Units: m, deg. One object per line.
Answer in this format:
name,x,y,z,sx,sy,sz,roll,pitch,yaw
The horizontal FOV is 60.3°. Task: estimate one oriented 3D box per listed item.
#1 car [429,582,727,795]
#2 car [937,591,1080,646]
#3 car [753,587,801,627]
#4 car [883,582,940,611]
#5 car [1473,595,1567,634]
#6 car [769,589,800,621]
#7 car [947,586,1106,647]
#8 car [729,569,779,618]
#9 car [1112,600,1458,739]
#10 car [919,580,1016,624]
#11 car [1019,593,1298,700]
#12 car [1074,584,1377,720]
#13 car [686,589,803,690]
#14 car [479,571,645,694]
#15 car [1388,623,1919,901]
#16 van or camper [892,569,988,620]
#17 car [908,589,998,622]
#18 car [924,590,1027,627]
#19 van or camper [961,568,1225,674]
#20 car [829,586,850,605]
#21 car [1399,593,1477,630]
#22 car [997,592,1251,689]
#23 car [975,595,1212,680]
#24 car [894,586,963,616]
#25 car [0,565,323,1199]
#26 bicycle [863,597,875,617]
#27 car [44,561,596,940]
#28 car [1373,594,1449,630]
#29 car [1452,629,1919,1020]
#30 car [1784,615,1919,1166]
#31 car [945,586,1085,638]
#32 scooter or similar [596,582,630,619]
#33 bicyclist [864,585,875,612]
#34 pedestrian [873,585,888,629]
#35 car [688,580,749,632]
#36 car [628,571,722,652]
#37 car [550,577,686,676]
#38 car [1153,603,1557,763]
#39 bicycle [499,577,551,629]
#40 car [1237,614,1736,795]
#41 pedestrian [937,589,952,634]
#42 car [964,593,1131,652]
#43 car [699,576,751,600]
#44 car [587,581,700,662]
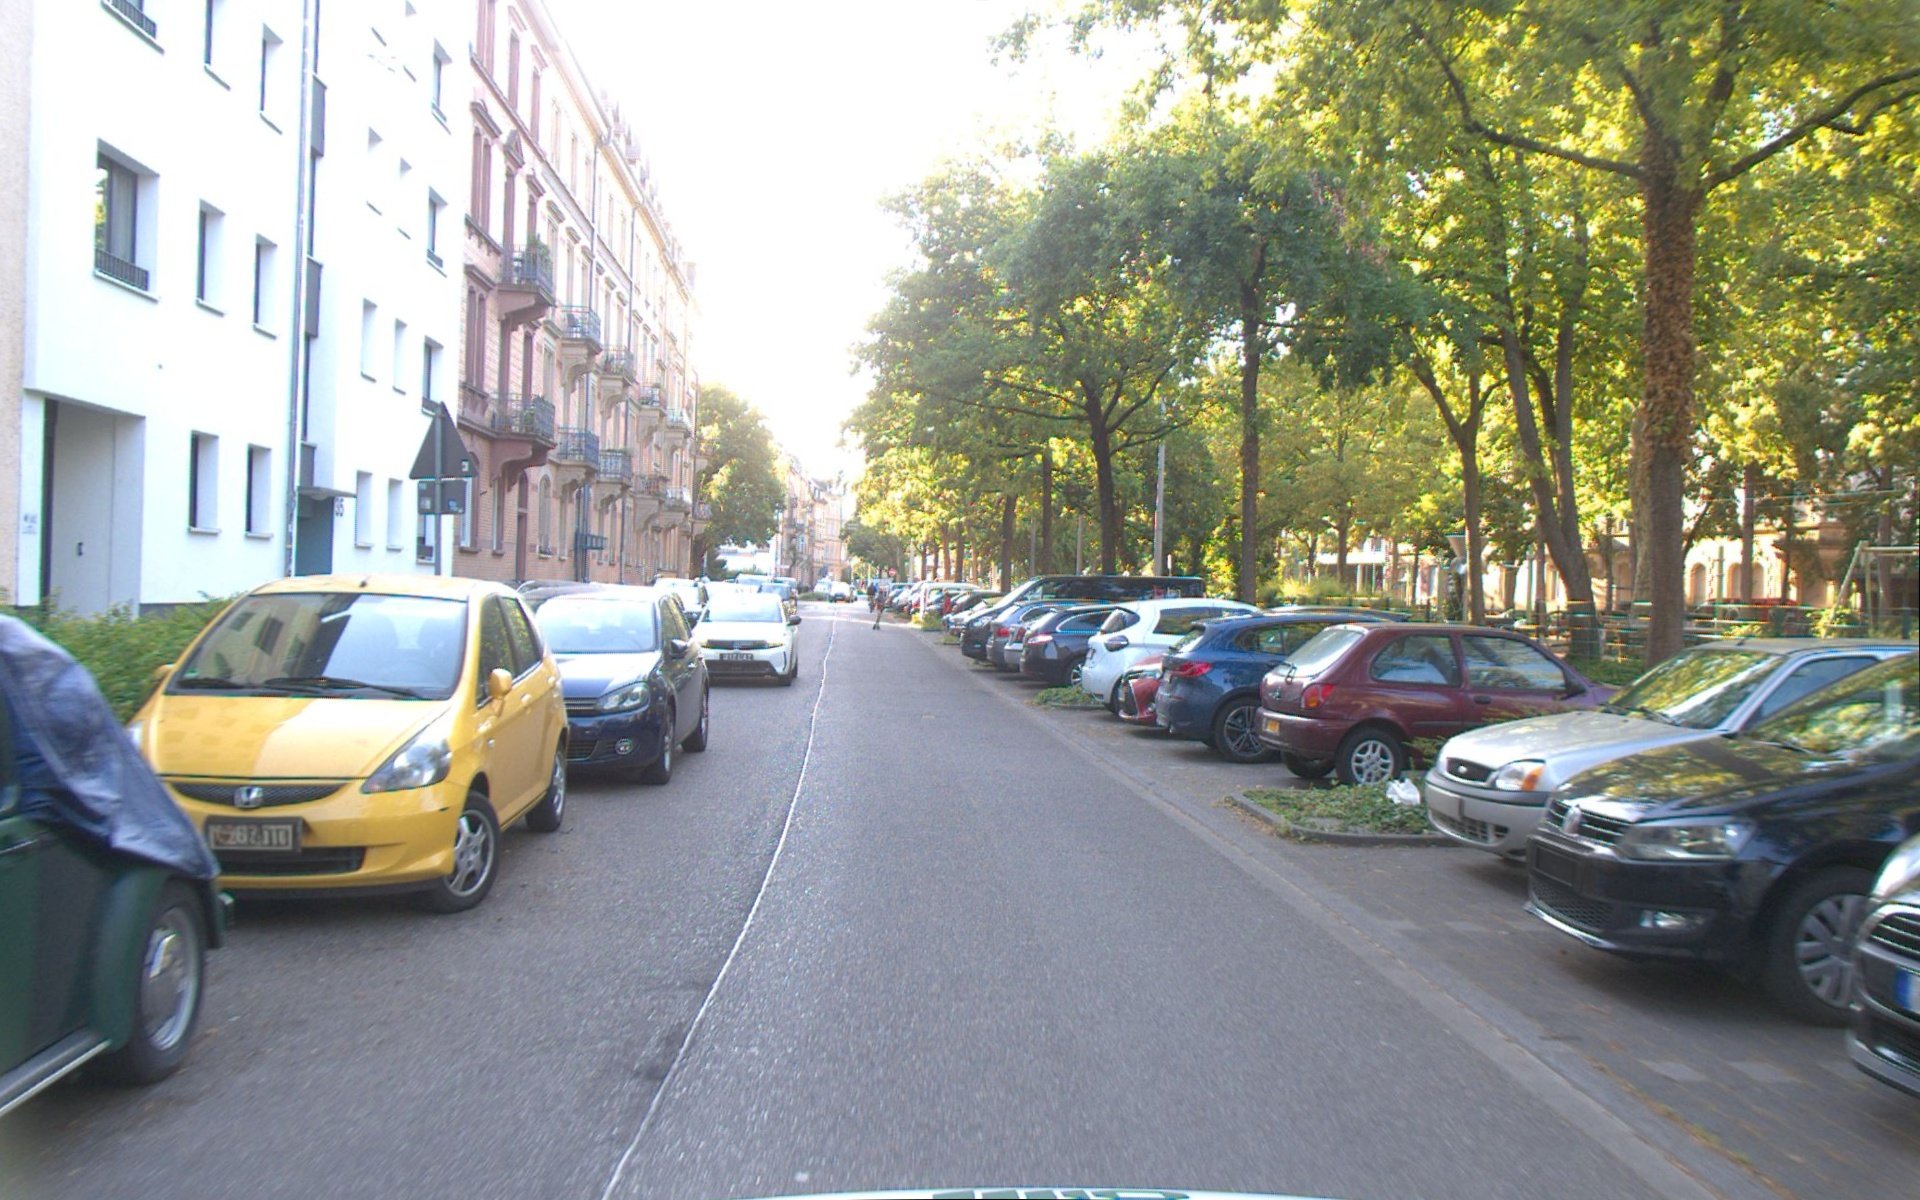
car,-2.998,0.620,13.788,1.704,1.505,3.998,1,0,-3
car,1.492,0.571,51.759,4.312,1.619,1.836,1,0,-3
car,-6.939,0.251,62.768,1.473,1.460,2.753,1,0,0
car,-3.490,-0.233,119.173,3.911,1.825,1.856,3,-2,-7
car,27.608,0.713,81.631,3.909,1.713,1.998,3,-2,-4
car,-12.159,0.330,114.531,1.919,2.053,4.264,3,0,-4
car,1.859,0.475,46.999,4.313,1.619,1.836,1,0,-5
car,-9.145,-0.245,73.756,1.955,1.954,5.034,3,-1,-5
car,3.735,0.796,19.407,3.706,1.499,1.663,1,-1,-2
car,0.309,0.086,72.100,4.136,1.896,1.760,0,0,-3
car,3.139,0.741,26.738,4.308,1.605,1.664,1,-1,1
car,3.474,0.687,22.009,3.707,1.675,1.663,1,-1,-4
car,-3.522,0.598,27.572,1.635,1.455,3.998,-1,2,-3
car,-5.760,0.428,24.394,1.636,1.534,3.997,5,0,-4
car,4.552,0.882,9.527,3.708,1.426,1.662,1,-1,-5
van or camper,-1.092,-0.274,89.011,4.886,2.419,2.182,3,-2,-6
car,-0.306,0.247,76.512,4.133,1.478,1.649,0,0,0
car,0.602,0.335,66.652,4.003,1.468,1.759,0,0,-7
van or camper,2.715,0.413,34.627,5.305,2.062,2.029,1,1,-2
car,-9.765,-0.395,133.707,1.636,1.489,3.996,1,0,-5
car,25.355,0.620,87.867,3.903,1.713,2.001,2,-2,15
car,2.872,0.723,29.499,4.310,1.605,1.663,1,-1,-2
car,2.549,0.726,32.087,4.315,1.527,1.835,1,-1,-7
car,-1.871,0.081,98.967,3.911,1.575,1.856,3,-2,-7
car,-2.875,0.674,3.689,1.535,1.544,3.780,1,0,-2
bicycle,-5.552,0.439,100.926,0.629,1.119,1.941,3,-1,-5
car,-3.074,0.631,8.786,1.669,1.552,3.770,1,0,-4
car,24.688,0.654,90.613,3.903,1.713,2.001,2,-2,15
car,4.245,0.869,7.080,3.706,1.426,1.826,1,-1,-3
car,4.483,0.821,4.554,3.711,1.498,1.632,1,-1,-8
car,1.779,0.393,54.385,4.318,1.619,1.834,1,0,-9
scooter or similar,-12.574,0.021,59.959,0.768,1.243,2.701,3,-1,-4
bicyclist,-5.516,-0.081,100.891,0.615,1.600,0.801,3,-2,-5
pedestrian,-2.952,0.274,61.773,0.372,1.612,0.519,2,2,15
car,-7.872,0.167,54.191,1.720,1.489,3.995,4,0,-6
car,-6.708,0.235,39.304,1.717,1.735,4.197,3,0,-4
car,-6.008,0.431,29.489,1.635,1.496,4.281,5,0,-3
car,3.887,0.815,16.715,3.704,1.472,1.664,1,-1,1
bicycle,-11.038,0.055,42.019,0.722,1.227,2.512,3,1,-3
car,4.442,0.875,14.238,3.711,1.426,1.763,1,-1,-8
pedestrian,-0.549,0.395,58.638,0.372,1.543,0.519,2,2,15
car,2.306,0.599,44.270,4.310,1.465,1.837,1,0,-2
car,-19.055,-0.960,134.368,3.908,1.736,1.999,3,-2,-3
car,-6.448,0.399,34.027,1.583,1.477,3.999,4,0,-2
